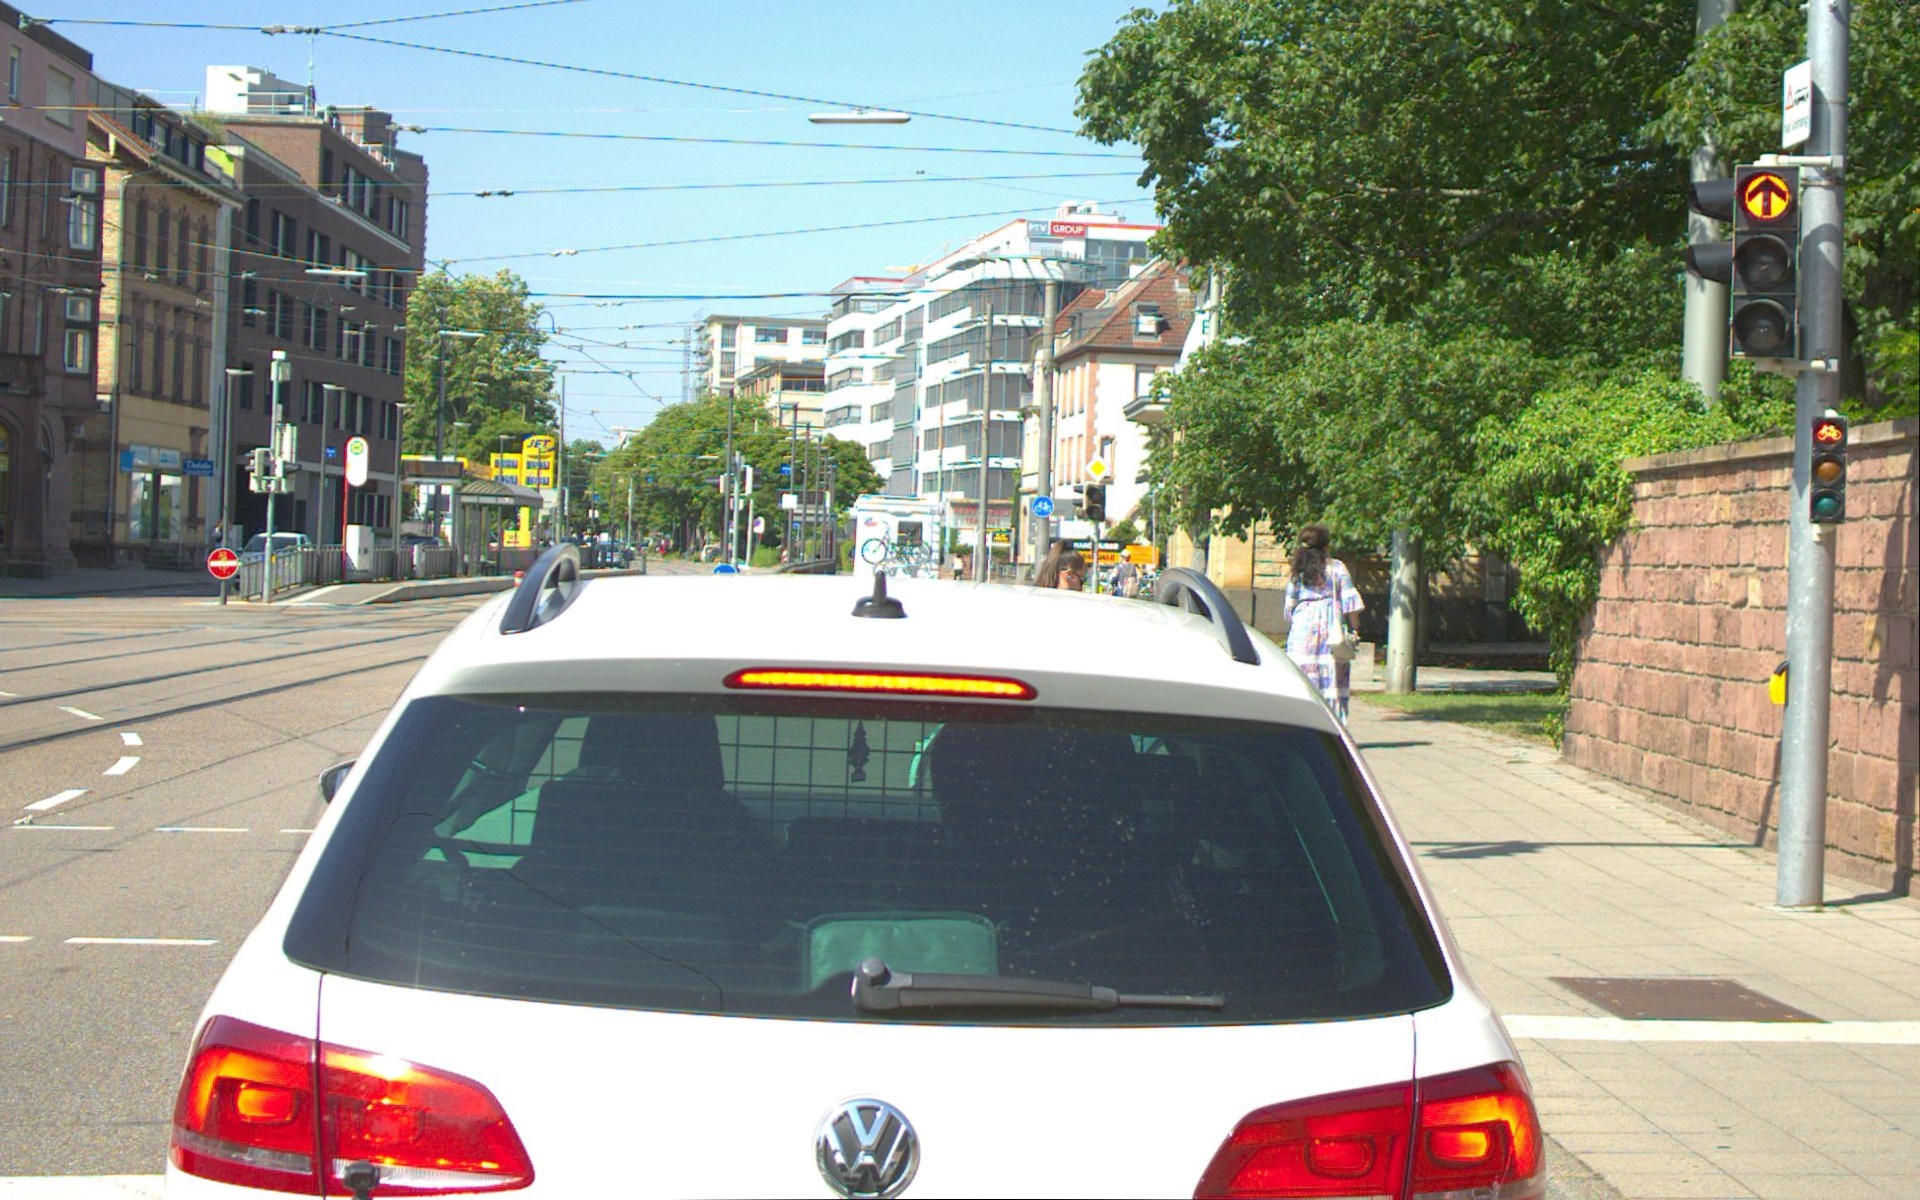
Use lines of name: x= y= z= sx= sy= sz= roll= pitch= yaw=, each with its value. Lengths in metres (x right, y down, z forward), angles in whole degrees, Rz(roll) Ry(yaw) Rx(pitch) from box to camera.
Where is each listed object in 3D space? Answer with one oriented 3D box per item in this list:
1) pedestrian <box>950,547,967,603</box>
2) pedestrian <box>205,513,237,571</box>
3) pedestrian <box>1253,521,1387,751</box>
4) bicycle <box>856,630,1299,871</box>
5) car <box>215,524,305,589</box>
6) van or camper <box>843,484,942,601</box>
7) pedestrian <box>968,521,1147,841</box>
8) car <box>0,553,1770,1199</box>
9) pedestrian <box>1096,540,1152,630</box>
pedestrian: x=-0.068 y=-1.039 z=142.941 sx=0.690 sy=2.317 sz=1.232 roll=0 pitch=0 yaw=1
pedestrian: x=-22.528 y=-1.768 z=104.805 sx=0.861 sy=1.737 sz=0.975 roll=0 pitch=0 yaw=-6
pedestrian: x=2.637 y=0.258 z=25.252 sx=0.953 sy=1.645 sz=0.975 roll=0 pitch=0 yaw=5
bicycle: x=0.563 y=0.730 z=16.763 sx=2.019 sy=1.086 sz=0.710 roll=2 pitch=1 yaw=-11
car: x=-17.979 y=-1.095 z=88.408 sx=1.740 sy=1.612 sz=4.000 roll=0 pitch=0 yaw=-4
van or camper: x=-1.877 y=-1.526 z=93.576 sx=2.566 sy=3.082 sz=5.703 roll=0 pitch=0 yaw=-2
pedestrian: x=0.483 y=0.393 z=17.313 sx=0.745 sy=1.566 sz=0.675 roll=0 pitch=2 yaw=-11
car: x=-0.139 y=0.681 z=5.460 sx=1.808 sy=1.443 sz=4.000 roll=2 pitch=1 yaw=-1
pedestrian: x=3.193 y=-0.285 z=66.863 sx=0.861 sy=1.737 sz=0.975 roll=0 pitch=0 yaw=-12
